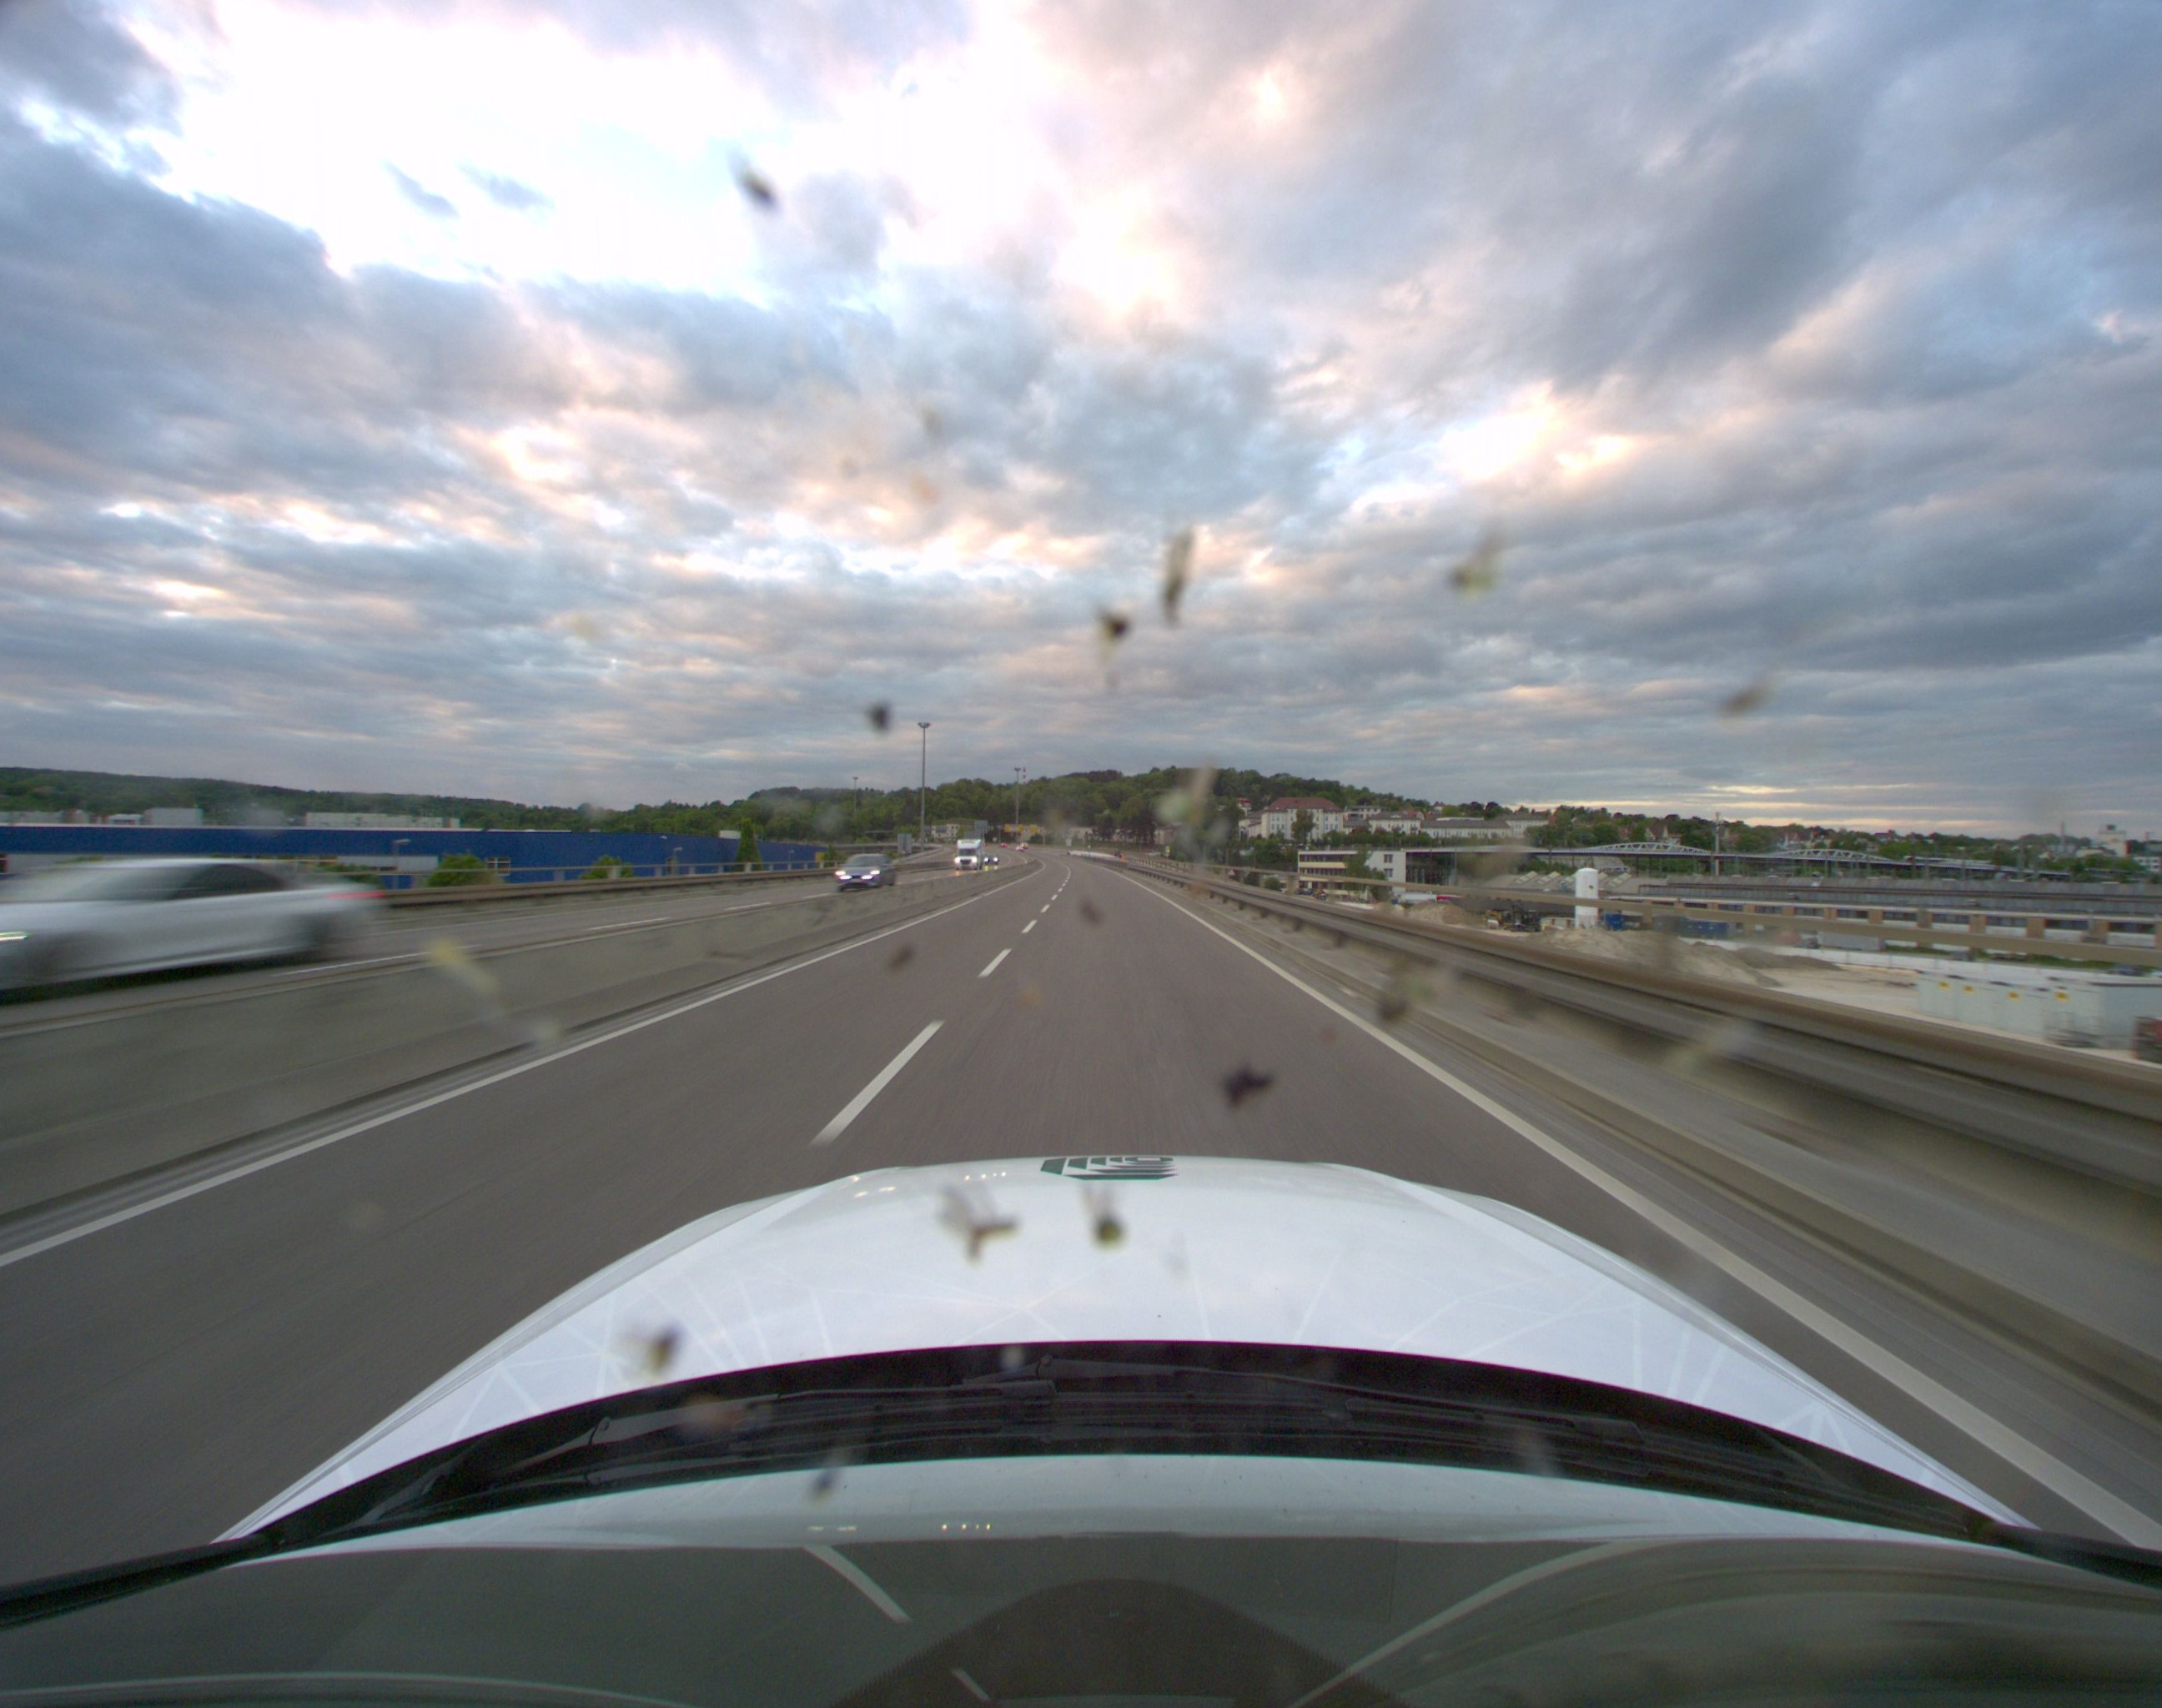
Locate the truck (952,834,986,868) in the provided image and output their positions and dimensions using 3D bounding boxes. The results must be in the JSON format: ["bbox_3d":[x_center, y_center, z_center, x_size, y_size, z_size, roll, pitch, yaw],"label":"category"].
[{"bbox_3d":[-11.076,-0.274,81.141,2.527,3.297,7.443,-1,0,-1],"label":"truck"}]

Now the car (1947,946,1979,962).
[{"bbox_3d":[103.806,11.786,95.856,4.014,1.420,1.853,6,0,-33],"label":"car"}]

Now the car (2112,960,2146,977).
[{"bbox_3d":[110.040,12.037,85.504,4.014,1.420,1.853,6,0,-33],"label":"car"}]

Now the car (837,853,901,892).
[{"bbox_3d":[-8.561,0.698,33.190,1.624,1.441,3.835,-1,1,-1],"label":"car"}]

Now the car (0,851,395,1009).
[{"bbox_3d":[-11.224,0.747,9.786,1.825,1.503,4.816,-1,0,0],"label":"car"}]

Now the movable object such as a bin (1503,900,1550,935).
[{"bbox_3d":[62.308,8.843,113.999,4.951,4.310,2.770,6,-1,-16],"label":"movable object such as a bin"}]

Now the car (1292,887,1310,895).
[{"bbox_3d":[51.654,8.763,190.843,4.016,1.565,1.813,4,2,-35],"label":"car"}]

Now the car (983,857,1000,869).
[{"bbox_3d":[-12.570,1.246,114.324,1.971,1.605,4.438,-1,0,-2],"label":"car"}]

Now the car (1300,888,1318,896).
[{"bbox_3d":[52.504,8.743,187.673,4.016,1.565,1.813,4,2,-35],"label":"car"}]

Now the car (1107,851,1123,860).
[{"bbox_3d":[6.836,0.322,162.885,2.305,1.763,4.247,1,1,-11],"label":"car"}]

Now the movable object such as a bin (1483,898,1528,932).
[{"bbox_3d":[61.433,8.866,117.822,4.951,4.310,2.770,6,-1,-16],"label":"movable object such as a bin"}]

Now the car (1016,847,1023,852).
[{"bbox_3d":[-17.538,-1.376,233.121,1.632,1.387,3.985,-1,2,-11],"label":"car"}]

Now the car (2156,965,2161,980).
[{"bbox_3d":[111.248,12.239,82.939,4.014,1.420,1.853,6,0,-33],"label":"car"}]

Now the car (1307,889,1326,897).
[{"bbox_3d":[53.174,8.722,183.799,4.016,1.565,1.813,4,2,-35],"label":"car"}]

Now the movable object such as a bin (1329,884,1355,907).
[{"bbox_3d":[54.418,8.600,169.821,2.779,4.310,4.935,6,0,-13],"label":"movable object such as a bin"}]
